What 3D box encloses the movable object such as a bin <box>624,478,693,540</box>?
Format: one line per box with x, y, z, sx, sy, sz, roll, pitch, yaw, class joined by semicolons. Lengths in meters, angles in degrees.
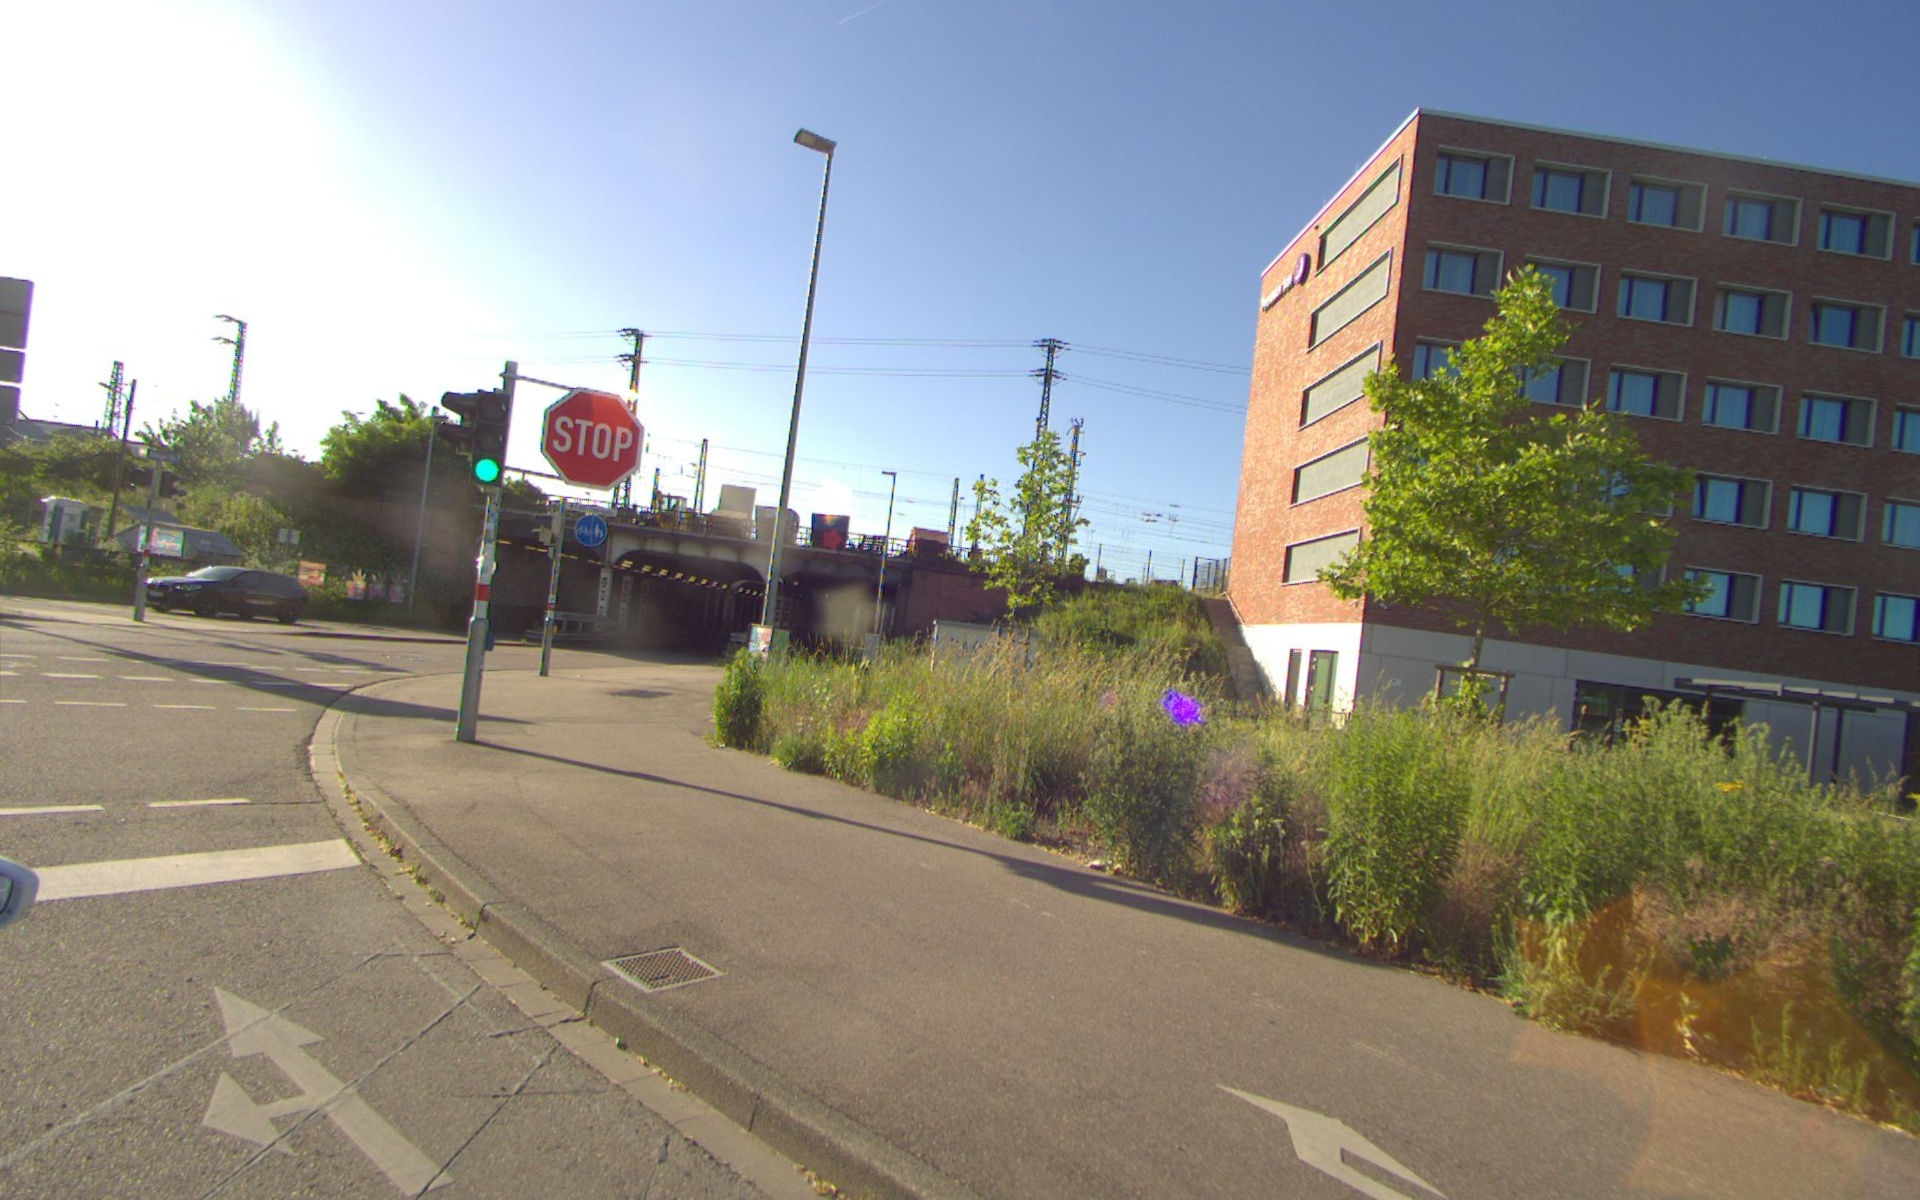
-15.577;-4.643;52.321;1.963;2.250;4.836;7;-3;-1;movable object such as a bin

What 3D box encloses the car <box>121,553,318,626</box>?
-21.619;-0.241;29.649;1.919;1.534;4.395;6;-3;12;car

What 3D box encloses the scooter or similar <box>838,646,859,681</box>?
-4.185;2.369;37.715;0.529;1.210;1.292;7;-3;-2;scooter or similar
